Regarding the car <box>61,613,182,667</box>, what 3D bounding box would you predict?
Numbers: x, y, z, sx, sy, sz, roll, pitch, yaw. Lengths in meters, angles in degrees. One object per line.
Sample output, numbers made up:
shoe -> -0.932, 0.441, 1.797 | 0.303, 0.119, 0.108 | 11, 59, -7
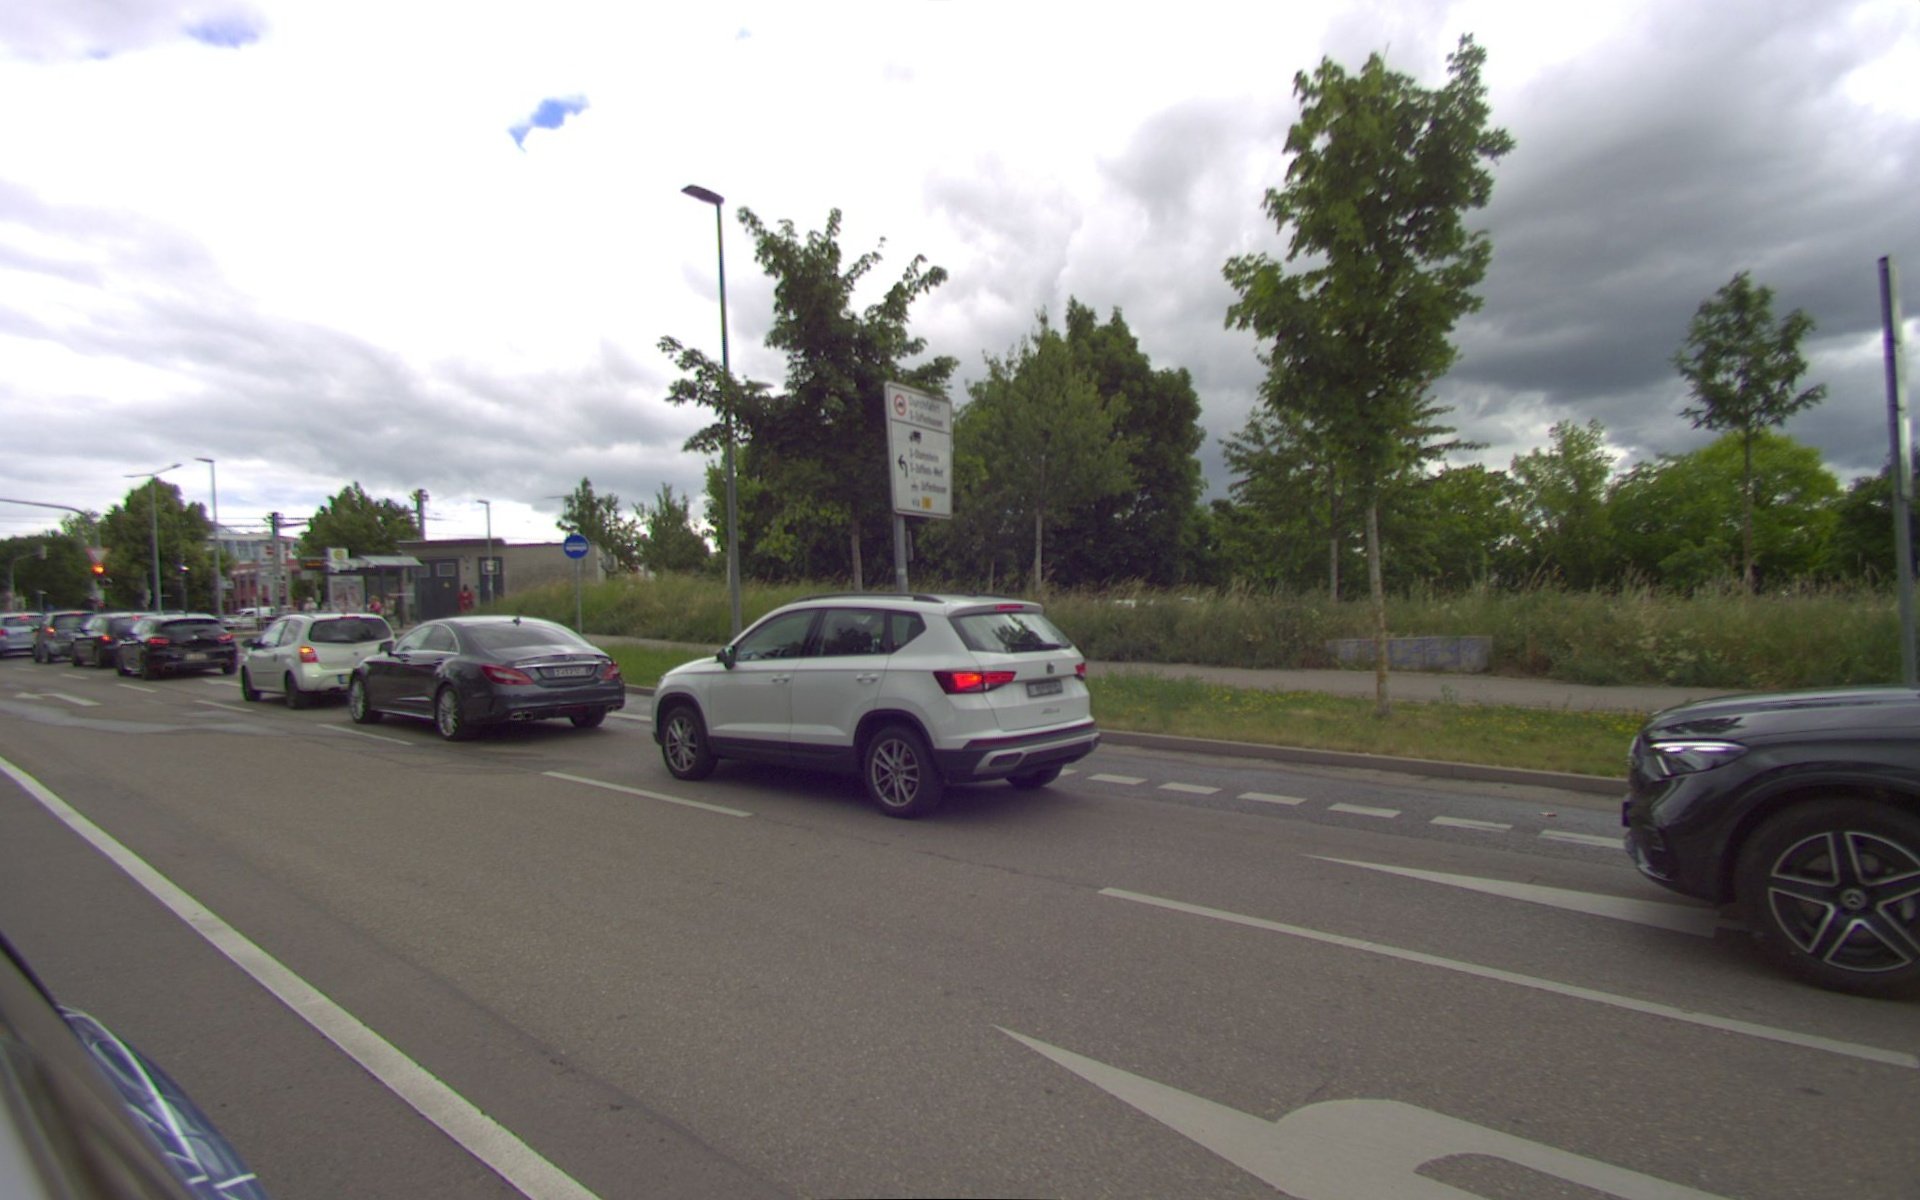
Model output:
car -> -23.399, 1.095, 28.199 | 4.375, 1.342, 1.782 | -2, 0, 39

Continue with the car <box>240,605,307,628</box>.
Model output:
car -> -60.312, 1.457, 89.016 | 2.173, 1.920, 4.415 | -2, -3, 25

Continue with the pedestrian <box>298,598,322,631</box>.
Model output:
pedestrian -> -27.628, 0.608, 43.013 | 0.772, 1.374, 0.544 | -2, 0, 33

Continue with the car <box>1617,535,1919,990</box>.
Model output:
car -> 4.752, 0.527, 3.416 | 4.058, 1.597, 1.623 | -2, 0, 41

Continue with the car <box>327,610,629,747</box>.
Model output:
car -> -6.289, 0.893, 12.903 | 4.881, 1.401, 1.623 | -2, 0, 41

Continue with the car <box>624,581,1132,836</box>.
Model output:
car -> -0.865, 0.722, 8.422 | 4.220, 1.597, 1.713 | -2, 0, 41

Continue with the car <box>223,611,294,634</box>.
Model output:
car -> -58.946, 1.880, 85.105 | 1.805, 1.805, 4.655 | -2, -1, 26

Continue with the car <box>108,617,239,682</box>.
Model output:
car -> -18.392, 1.119, 23.601 | 4.058, 1.342, 1.623 | -2, 0, 41

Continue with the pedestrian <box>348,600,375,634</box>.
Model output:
pedestrian -> -24.328, 0.698, 41.139 | 0.549, 1.340, 0.766 | -2, 0, 32

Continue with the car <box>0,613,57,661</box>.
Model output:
car -> -33.253, 1.291, 35.309 | 4.212, 1.547, 1.810 | -2, 0, 37

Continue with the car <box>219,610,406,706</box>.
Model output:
car -> -10.972, 0.917, 17.056 | 3.760, 1.401, 1.623 | -2, 0, 40

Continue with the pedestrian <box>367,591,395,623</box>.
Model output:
pedestrian -> -23.167, 0.274, 40.522 | 0.549, 1.236, 0.766 | -2, 0, 32

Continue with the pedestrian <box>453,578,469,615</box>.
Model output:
pedestrian -> -22.921, -0.164, 46.487 | 0.541, 1.682, 0.430 | -2, 0, -13

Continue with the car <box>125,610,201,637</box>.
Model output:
car -> -60.964, 1.789, 77.496 | 1.809, 1.793, 4.177 | -2, 0, 32

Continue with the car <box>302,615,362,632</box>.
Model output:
car -> -55.962, 2.111, 90.296 | 1.809, 1.351, 4.174 | -2, -3, 33

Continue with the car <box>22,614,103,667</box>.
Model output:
car -> -27.958, 1.250, 31.521 | 2.771, 1.538, 1.414 | -2, 0, 38
